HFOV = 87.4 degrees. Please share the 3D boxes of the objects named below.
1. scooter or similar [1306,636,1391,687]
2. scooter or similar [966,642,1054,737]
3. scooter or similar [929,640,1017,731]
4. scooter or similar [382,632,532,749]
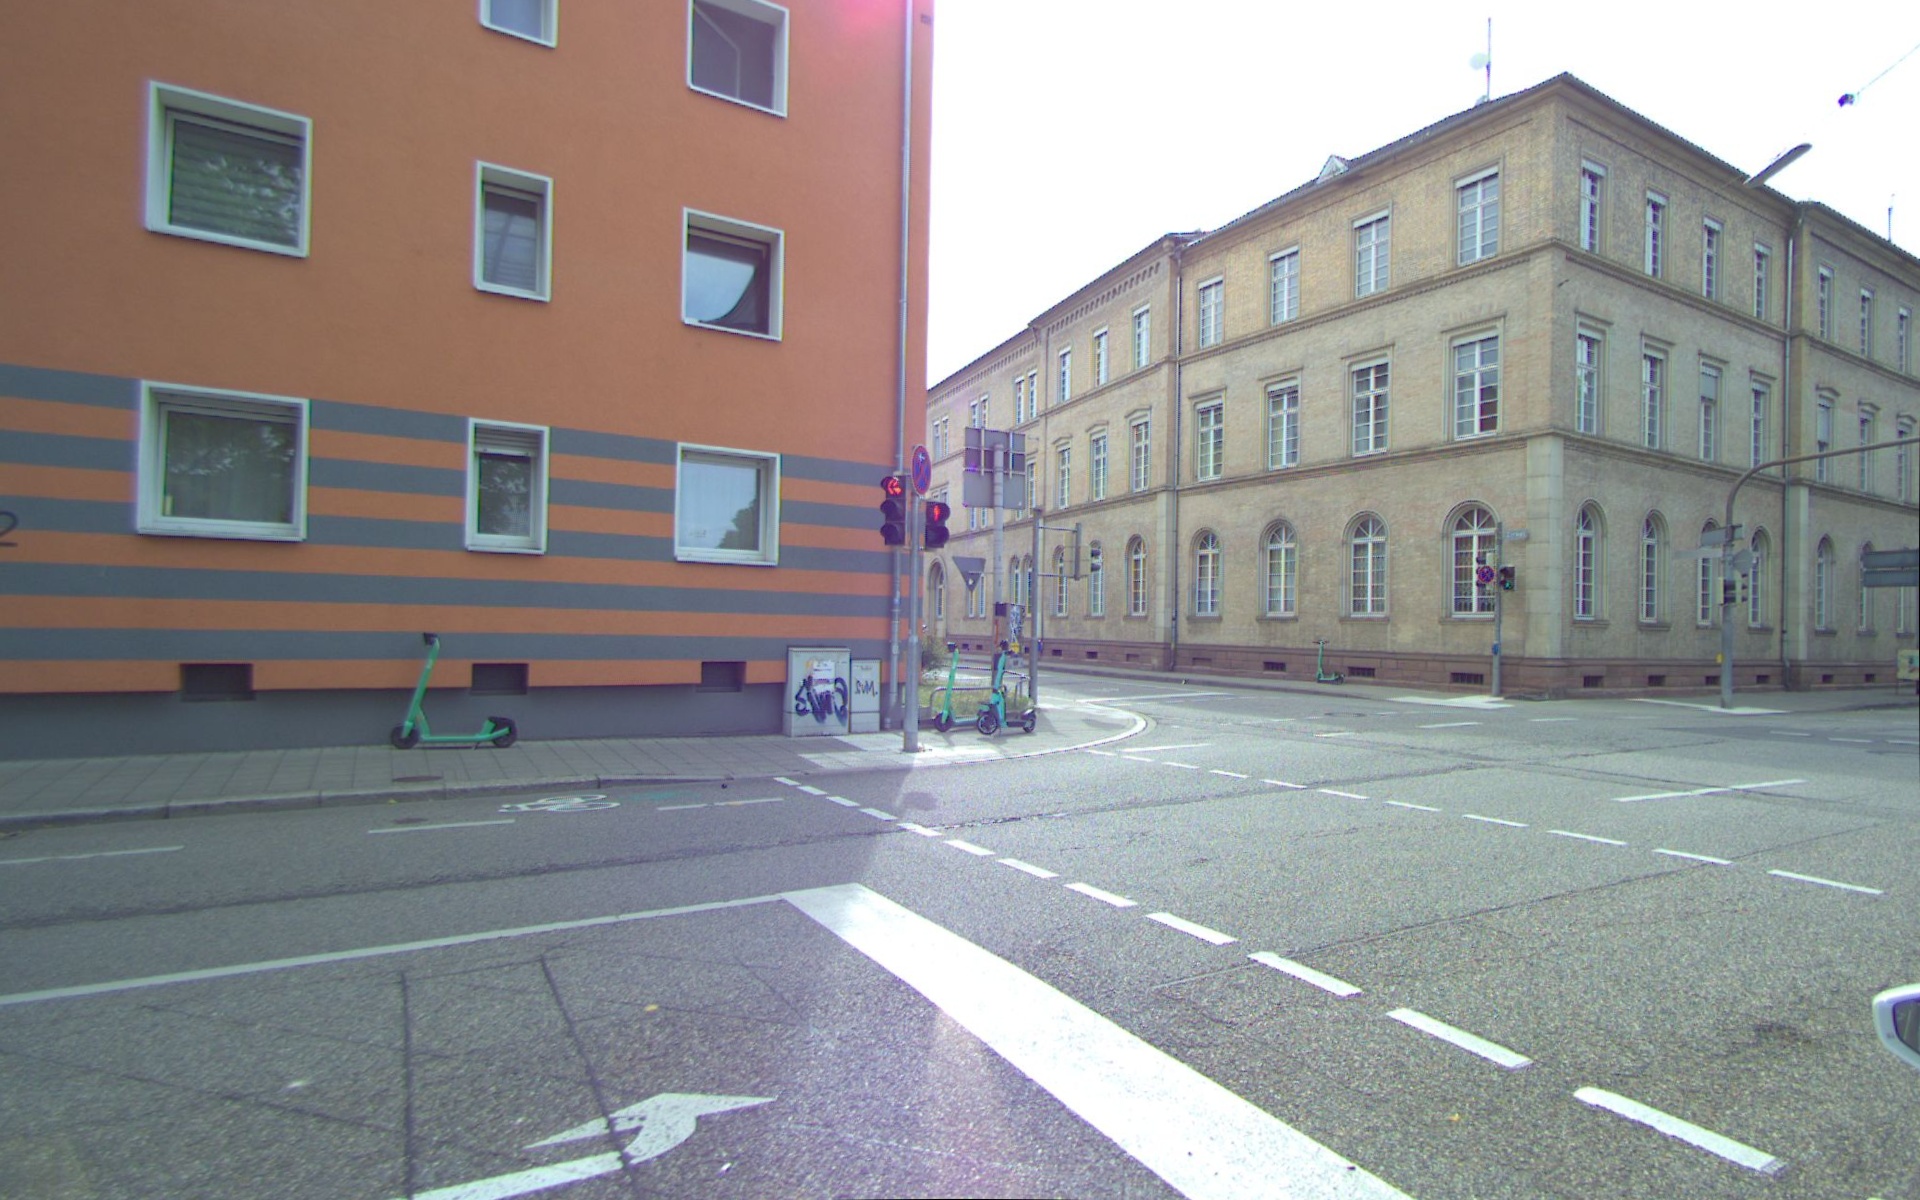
[{"bbox_3d":[10.240,1.605,26.584,0.553,1.180,2.362,2,0,-24],"label":"scooter or similar"},{"bbox_3d":[0.685,1.172,13.459,1.334,1.194,0.325,2,0,-44],"label":"scooter or similar"},{"bbox_3d":[0.192,1.149,13.840,1.345,1.173,0.325,2,0,-44],"label":"scooter or similar"},{"bbox_3d":[-5.185,0.918,10.380,1.338,1.139,0.366,2,0,-31],"label":"scooter or similar"}]
